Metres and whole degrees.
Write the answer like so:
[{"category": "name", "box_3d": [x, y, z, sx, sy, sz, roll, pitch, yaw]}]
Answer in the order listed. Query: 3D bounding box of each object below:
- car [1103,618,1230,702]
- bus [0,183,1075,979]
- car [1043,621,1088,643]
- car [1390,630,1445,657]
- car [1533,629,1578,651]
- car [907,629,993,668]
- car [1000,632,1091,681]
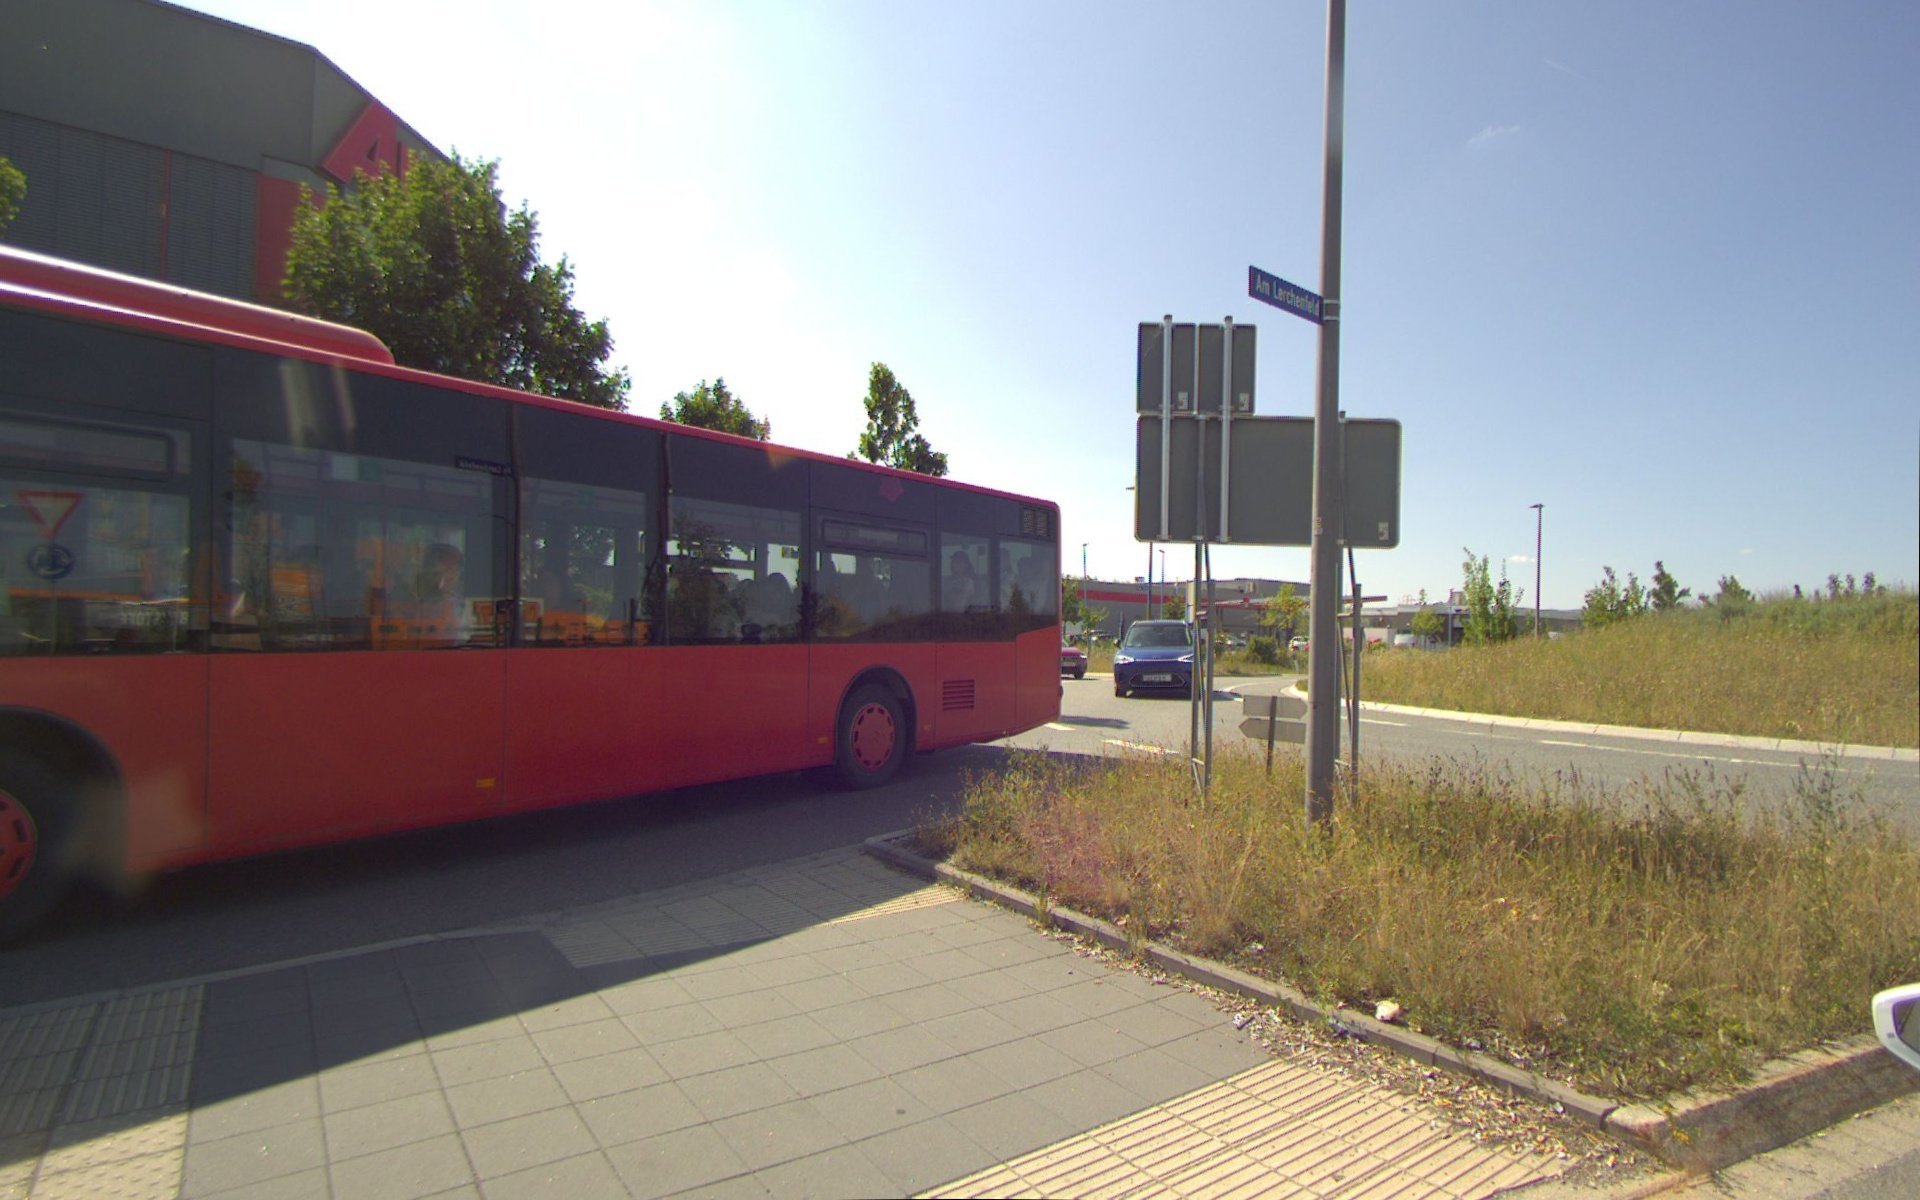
[{"category": "car", "box_3d": [4.643, 1.266, 22.128, 1.822, 1.657, 4.077, -1, -2, 26]}, {"category": "bus", "box_3d": [-3.115, 0.025, 7.584, 2.575, 3.284, 11.843, -1, -2, 35]}, {"category": "car", "box_3d": [10.105, 3.096, 96.087, 3.965, 2.040, 1.979, 3, -2, -38]}, {"category": "car", "box_3d": [37.901, 3.614, 83.150, 5.089, 2.040, 1.979, 3, -2, -37]}, {"category": "car", "box_3d": [52.212, 3.519, 88.053, 3.961, 1.754, 1.980, 3, -2, -35]}, {"category": "car", "box_3d": [-0.473, 1.911, 40.378, 1.774, 1.434, 4.354, 1, -2, -26]}, {"category": "car", "box_3d": [2.684, 1.777, 32.351, 1.777, 1.434, 4.108, 0, -1, -13]}]
